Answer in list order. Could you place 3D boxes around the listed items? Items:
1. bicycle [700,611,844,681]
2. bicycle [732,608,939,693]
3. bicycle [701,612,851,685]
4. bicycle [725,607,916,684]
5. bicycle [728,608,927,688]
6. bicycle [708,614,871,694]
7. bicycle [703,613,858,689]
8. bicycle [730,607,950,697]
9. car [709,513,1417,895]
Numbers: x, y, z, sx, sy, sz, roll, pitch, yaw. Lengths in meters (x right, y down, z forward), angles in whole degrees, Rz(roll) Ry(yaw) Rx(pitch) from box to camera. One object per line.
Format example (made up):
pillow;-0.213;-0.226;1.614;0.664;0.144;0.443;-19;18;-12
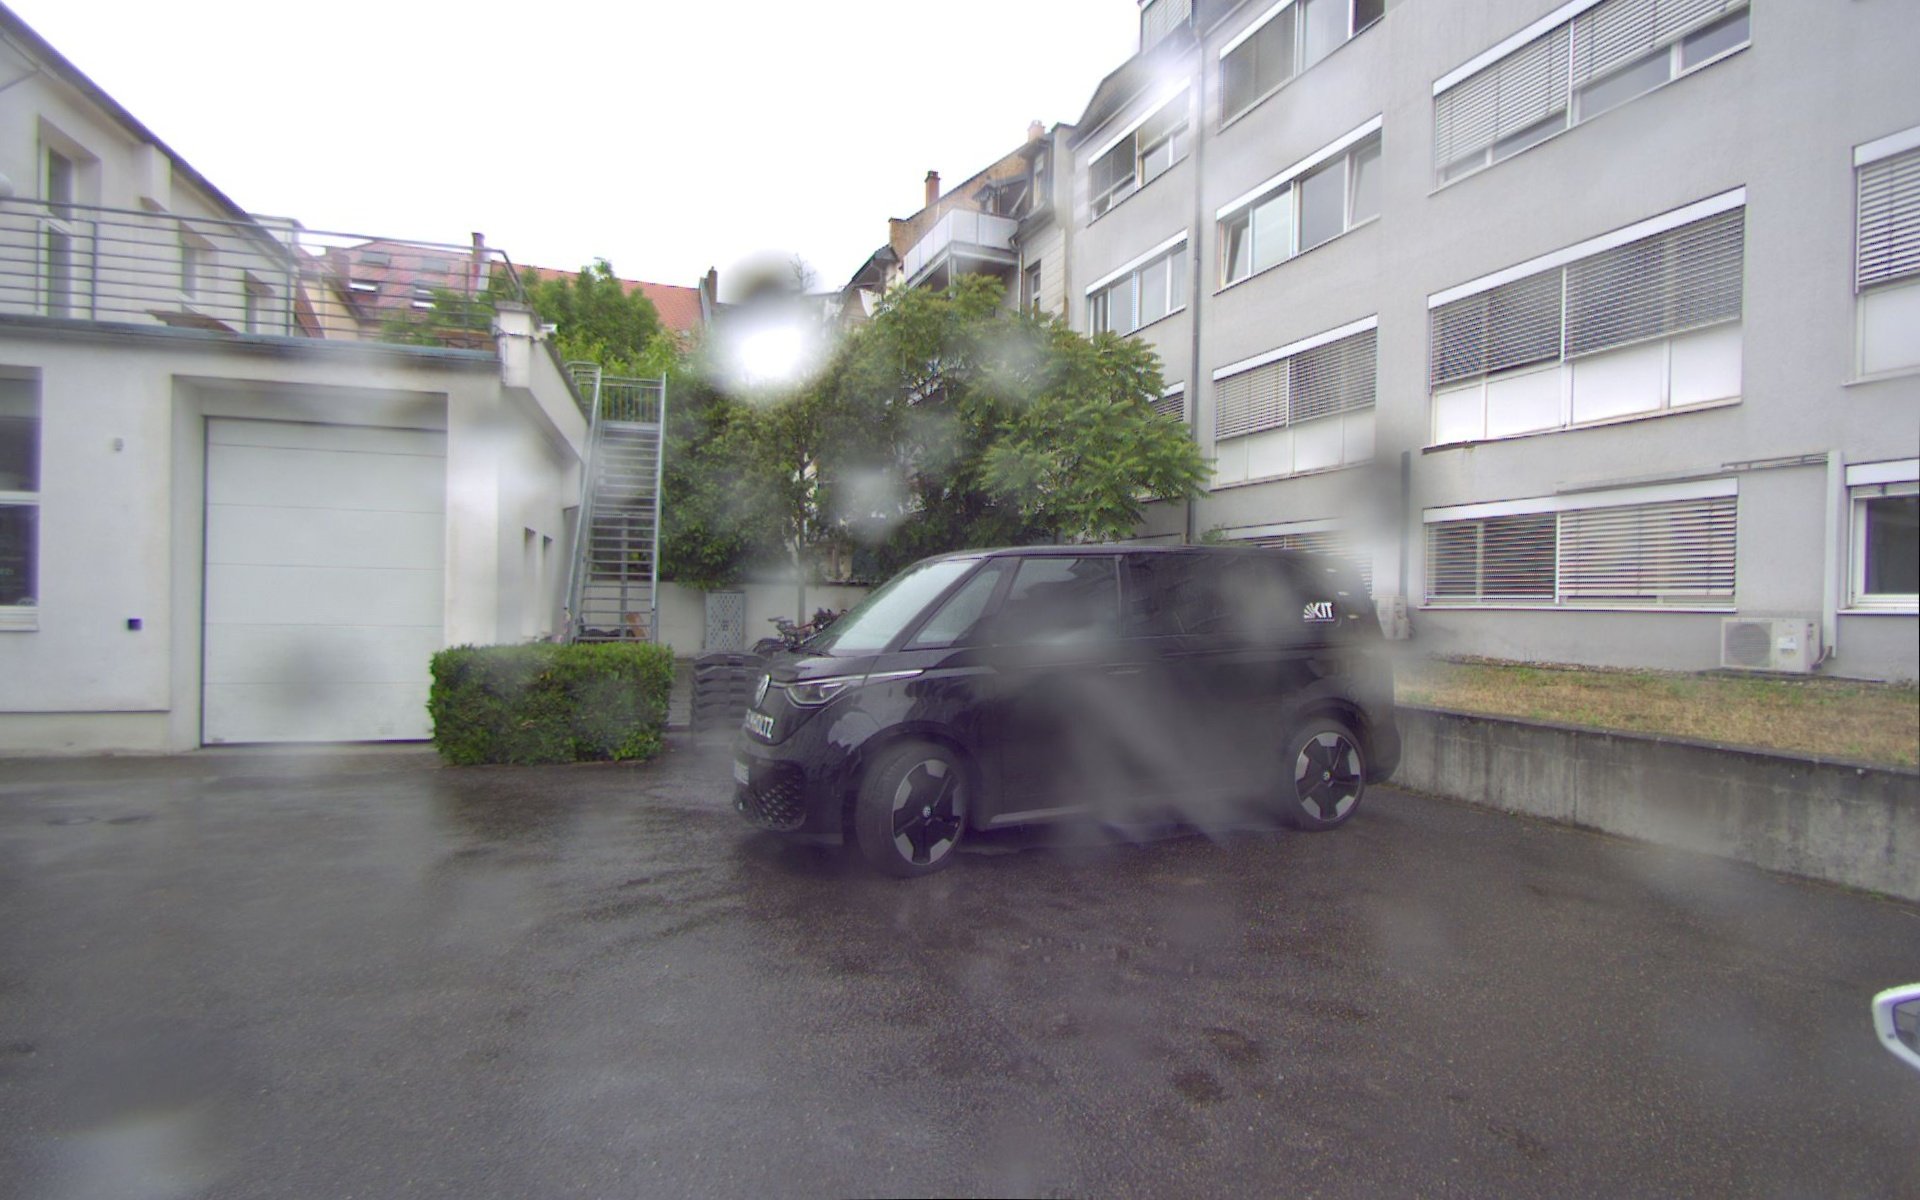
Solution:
bicycle;-3.140;0.759;16.805;2.298;1.119;0.630;1;1;-17
bicycle;-1.946;0.782;15.845;3.174;1.258;0.628;1;-1;-19
bicycle;-2.960;0.767;16.182;2.298;1.119;0.630;1;1;-17
bicycle;-2.353;0.768;17.103;3.174;1.258;0.628;1;-1;-19
bicycle;-2.150;0.776;16.466;3.174;1.258;0.628;1;-1;-19
bicycle;-2.519;0.785;14.831;2.298;1.119;0.630;1;1;-17
bicycle;-2.773;0.775;15.541;2.298;1.119;0.630;1;1;-17
bicycle;-1.759;0.757;14.890;3.174;1.258;0.628;1;-1;-19
car;0.711;0.566;6.920;4.460;1.922;2.035;1;-1;-24
